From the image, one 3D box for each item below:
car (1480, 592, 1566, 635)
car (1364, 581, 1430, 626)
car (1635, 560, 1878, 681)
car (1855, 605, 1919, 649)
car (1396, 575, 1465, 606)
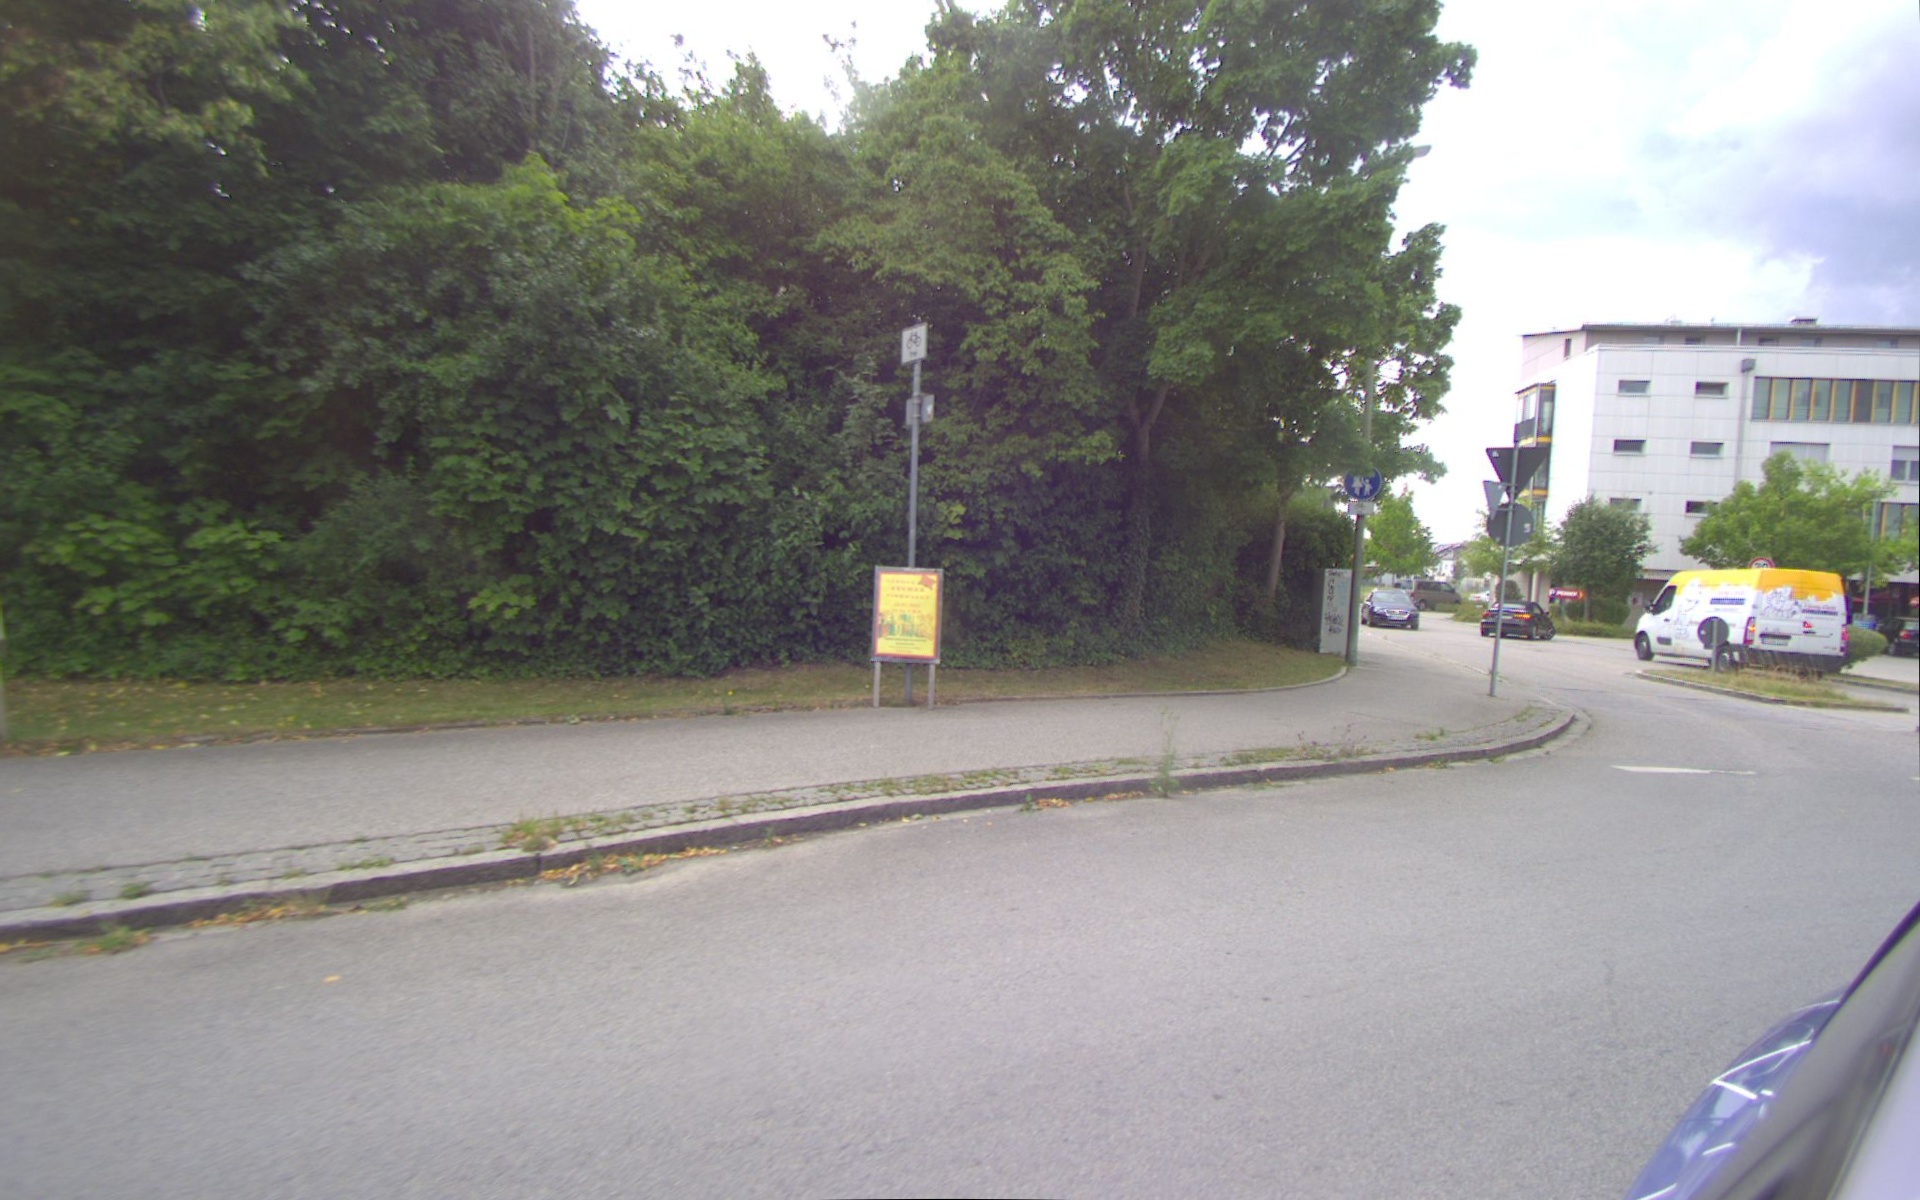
[{"bbox_3d":[20.453,0.469,36.715,1.795,1.347,3.938,5,3,42],"label":"car"},{"bbox_3d":[17.002,0.092,39.550,1.777,1.481,3.980,4,3,16],"label":"car"},{"bbox_3d":[19.114,0.334,24.734,2.135,2.481,5.428,4,3,10],"label":"car"},{"bbox_3d":[36.284,1.058,38.501,1.798,1.475,3.978,4,2,17],"label":"car"},{"bbox_3d":[29.692,-0.603,63.862,3.916,1.754,1.658,2,1,-21],"label":"car"}]
